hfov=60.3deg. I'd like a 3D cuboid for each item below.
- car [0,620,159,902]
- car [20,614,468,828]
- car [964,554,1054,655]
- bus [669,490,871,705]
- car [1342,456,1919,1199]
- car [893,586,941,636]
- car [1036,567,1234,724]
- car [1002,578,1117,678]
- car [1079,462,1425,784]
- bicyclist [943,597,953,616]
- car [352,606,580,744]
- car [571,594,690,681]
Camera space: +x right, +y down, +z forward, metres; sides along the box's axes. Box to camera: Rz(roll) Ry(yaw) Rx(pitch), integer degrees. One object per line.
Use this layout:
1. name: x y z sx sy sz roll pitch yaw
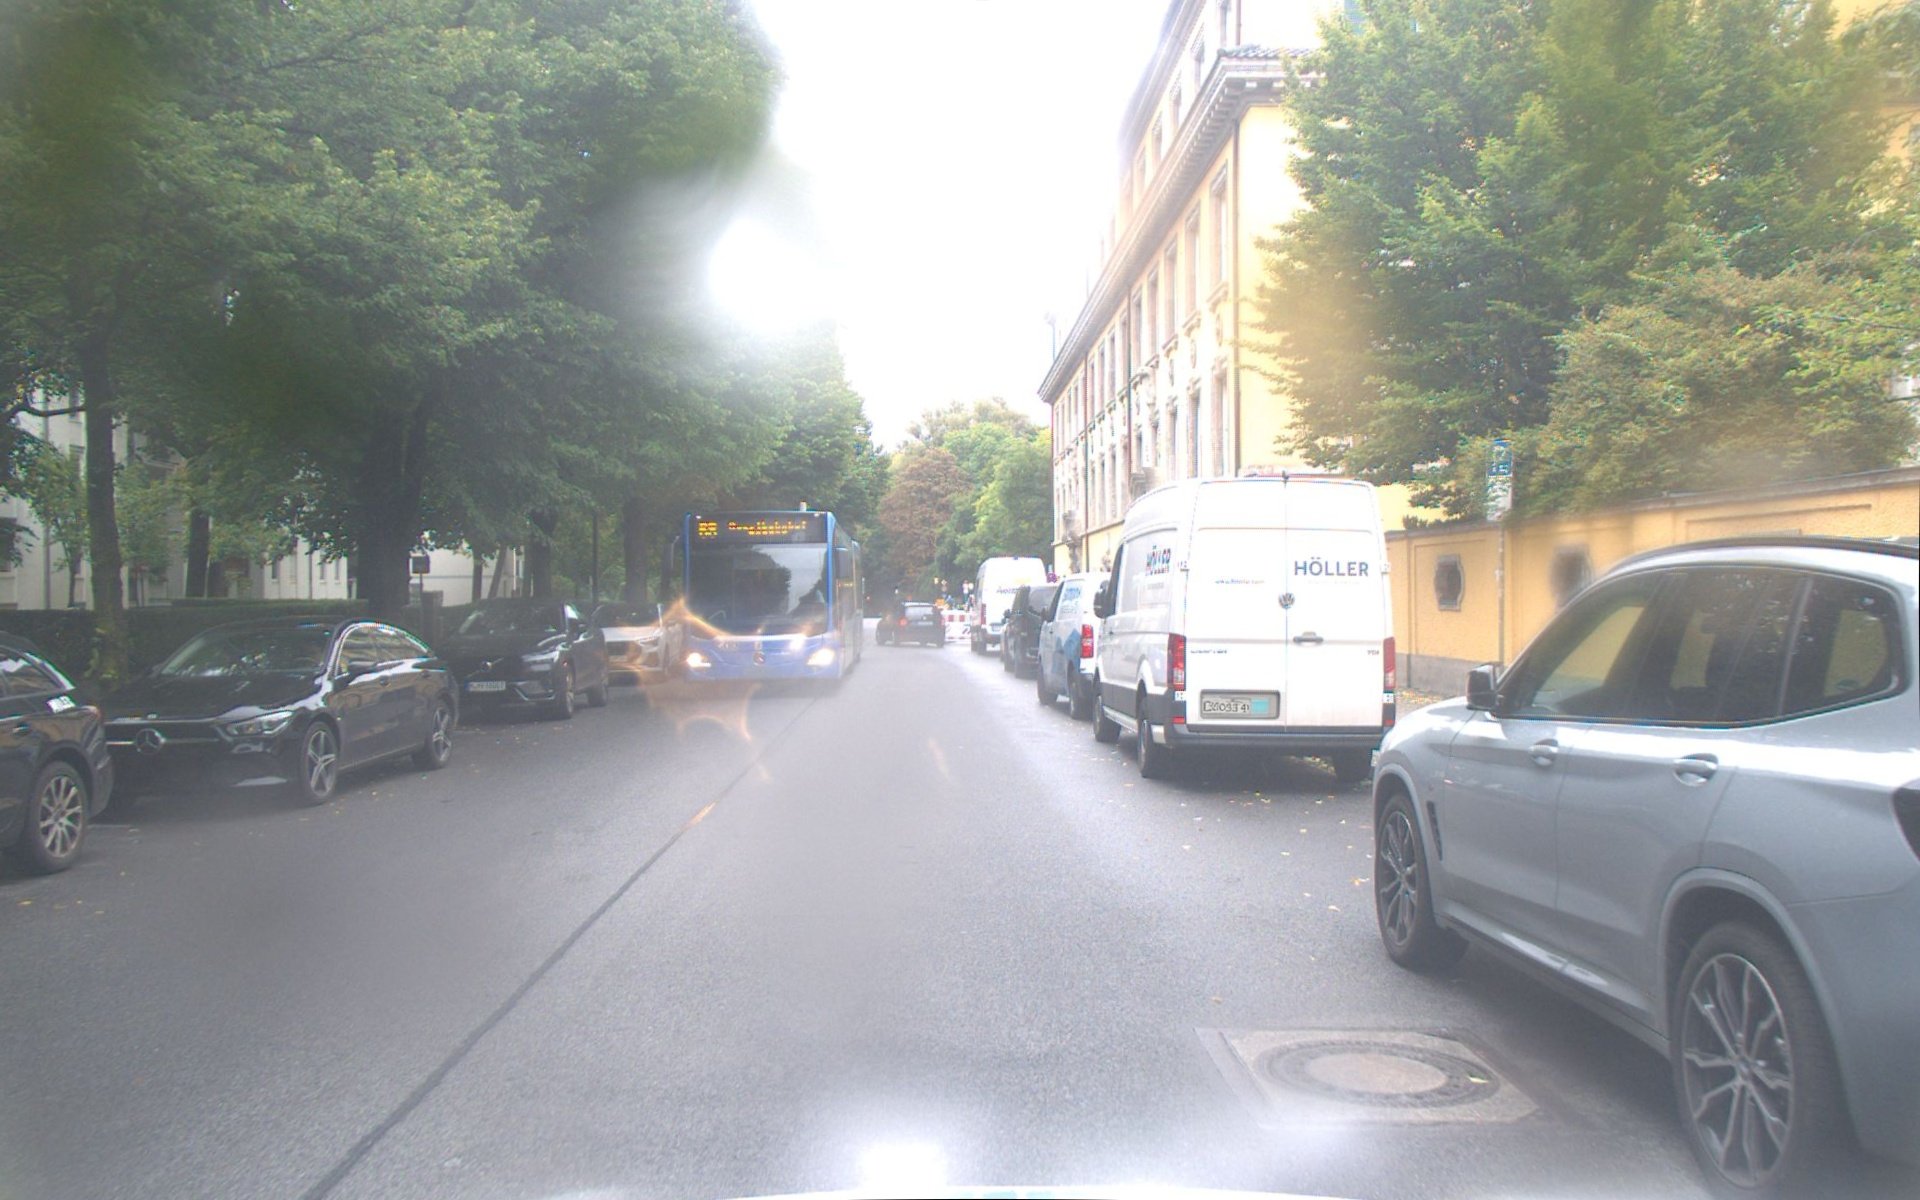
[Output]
1. car: -6.009 0.900 8.337 1.753 1.463 4.577 -1 1 -1
2. car: -5.676 0.880 13.818 1.753 1.463 4.550 -1 -1 0
3. car: 1.340 0.146 48.791 2.013 2.720 7.609 -1 0 -3
4. bus: -3.436 0.115 34.798 2.802 3.296 18.416 -1 -1 -2
5. car: 2.746 0.614 5.289 1.821 1.772 4.600 1 0 -2
6. car: -1.411 0.371 55.518 1.545 1.611 4.043 -1 0 -1
7. car: 2.299 0.574 23.130 1.973 1.940 5.161 1 0 -3
8. car: 1.986 0.554 34.454 1.833 1.902 4.983 -1 0 -3
9. car: 2.533 0.224 16.029 2.053 2.531 5.736 -1 -1 -3
10. bicyclist: -0.950 0.552 135.595 0.668 1.530 0.899 -1 0 -10
11. car: -5.894 0.834 20.203 1.754 1.479 3.946 -1 0 -3
12. car: -6.663 0.735 33.895 1.748 1.625 4.581 -1 0 -3
